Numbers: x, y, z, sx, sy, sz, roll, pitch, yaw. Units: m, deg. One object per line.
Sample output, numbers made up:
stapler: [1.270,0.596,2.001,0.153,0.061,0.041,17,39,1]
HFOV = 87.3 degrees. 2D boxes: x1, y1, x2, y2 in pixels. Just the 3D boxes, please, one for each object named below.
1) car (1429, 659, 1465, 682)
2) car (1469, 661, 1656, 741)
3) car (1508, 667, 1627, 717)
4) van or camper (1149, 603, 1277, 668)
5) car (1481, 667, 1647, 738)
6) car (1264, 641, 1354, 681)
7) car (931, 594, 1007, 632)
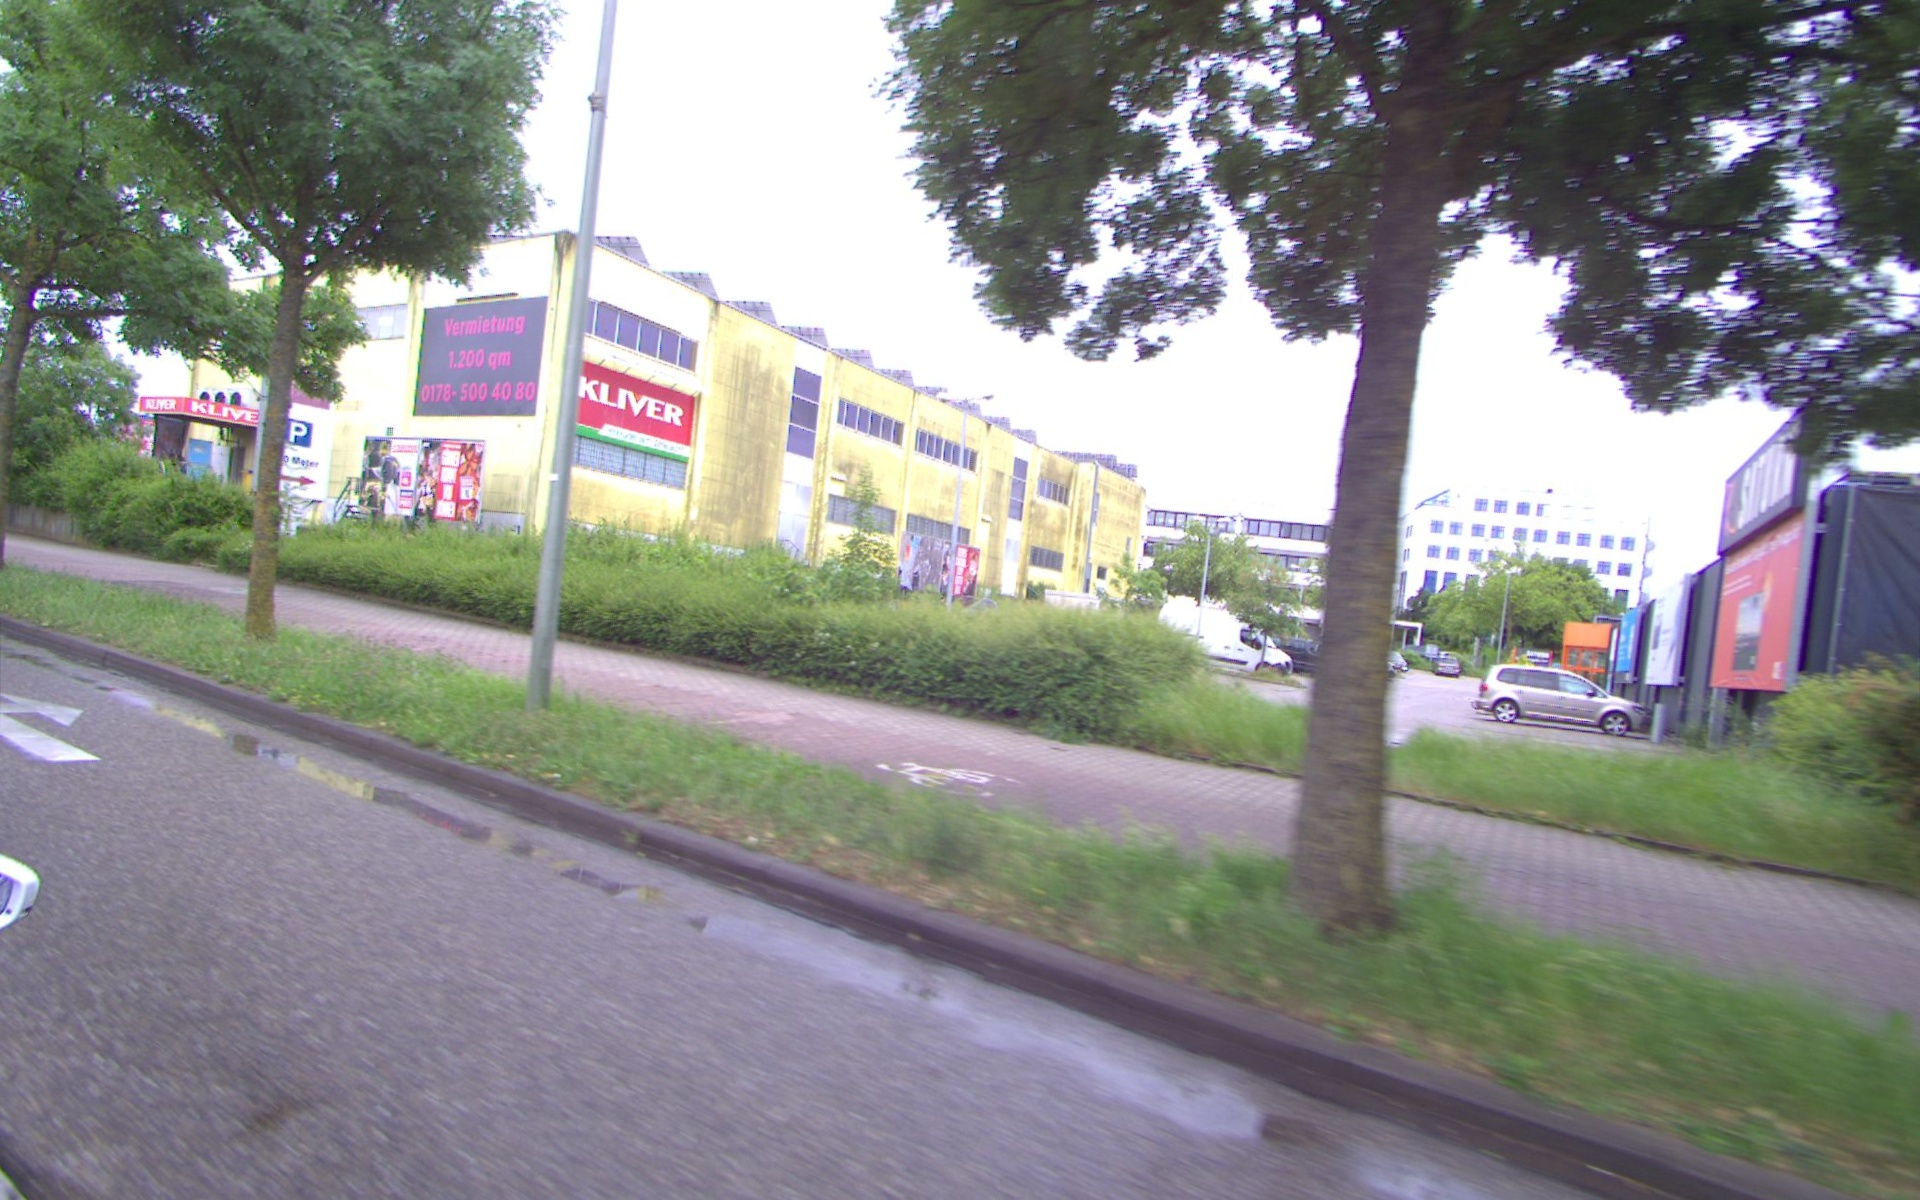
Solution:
car: [38.990,5.623,80.666,1.875,1.593,4.365,7,-1,19]
car: [17.039,2.822,28.699,4.289,1.593,1.908,7,0,29]
car: [26.846,4.050,44.646,4.289,1.593,1.908,7,0,29]
van or camper: [11.322,1.574,45.094,4.941,2.282,2.151,7,0,32]
car: [19.248,3.250,32.289,4.289,1.593,1.908,7,0,29]
car: [18.979,3.295,54.688,4.254,1.593,1.909,7,0,27]
car: [0.473,0.655,50.171,1.879,1.459,3.992,7,-1,32]
